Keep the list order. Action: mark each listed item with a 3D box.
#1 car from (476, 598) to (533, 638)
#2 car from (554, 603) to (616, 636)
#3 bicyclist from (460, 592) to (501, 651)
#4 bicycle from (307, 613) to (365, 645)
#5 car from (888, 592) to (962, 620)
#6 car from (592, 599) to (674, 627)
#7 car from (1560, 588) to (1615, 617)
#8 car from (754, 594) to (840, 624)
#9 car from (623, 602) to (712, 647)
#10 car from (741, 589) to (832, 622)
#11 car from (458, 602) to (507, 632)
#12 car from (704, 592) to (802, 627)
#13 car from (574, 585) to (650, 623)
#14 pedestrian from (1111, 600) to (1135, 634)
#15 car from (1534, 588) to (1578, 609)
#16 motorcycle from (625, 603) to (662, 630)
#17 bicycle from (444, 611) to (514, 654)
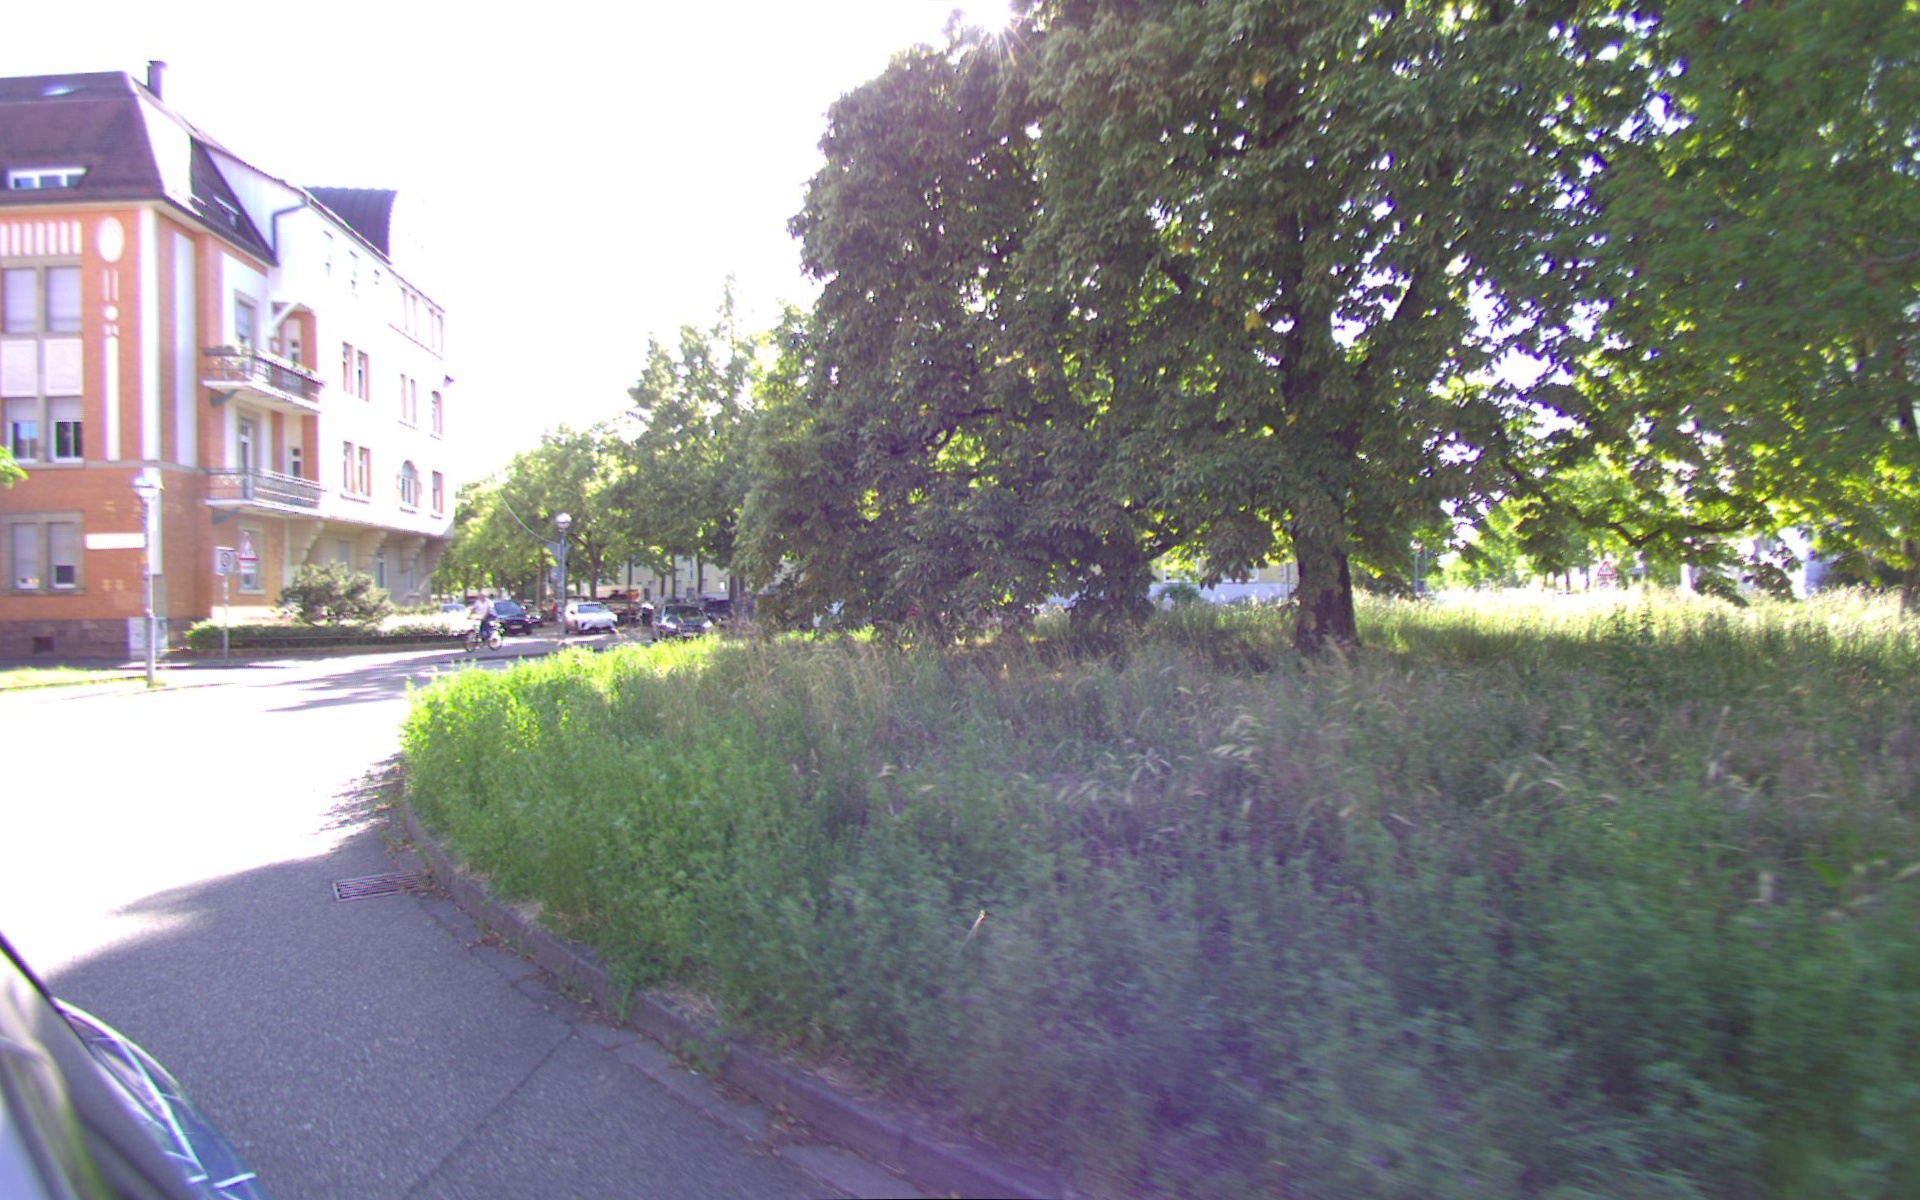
[{"bbox_3d":[-22.641,0.880,50.253,1.768,1.780,4.219,-4,1,-34],"label":"car"},{"bbox_3d":[-17.975,0.928,48.407,1.768,1.446,4.220,-2,0,-34],"label":"car"},{"bbox_3d":[-14.291,0.634,30.170,0.760,1.709,0.806,0,0,24],"label":"bicyclist"},{"bbox_3d":[-21.566,1.000,34.975,1.648,1.080,0.501,0,-1,-7],"label":"bicycle"},{"bbox_3d":[-1.890,0.324,53.393,1.707,1.450,4.398,-1,0,-36],"label":"car"},{"bbox_3d":[-18.123,0.699,56.178,3.946,1.452,1.822,-1,0,2],"label":"car"},{"bbox_3d":[31.798,0.128,51.391,1.789,1.423,3.968,-1,0,24],"label":"car"},{"bbox_3d":[-8.278,0.446,51.510,3.931,1.484,1.765,-1,0,-28],"label":"car"},{"bbox_3d":[-10.437,0.850,35.933,1.768,1.446,4.220,-2,0,-34],"label":"car"},{"bbox_3d":[-8.133,0.246,47.638,3.947,1.484,1.758,-1,0,3],"label":"car"},{"bbox_3d":[-26.303,0.933,55.678,1.768,1.464,4.219,-4,1,-34],"label":"car"},{"bbox_3d":[-9.200,0.432,45.160,3.948,1.484,1.757,-1,0,4],"label":"car"},{"bbox_3d":[-23.995,0.291,69.898,4.527,2.509,1.988,-1,0,-2],"label":"car"},{"bbox_3d":[7.550,0.792,46.843,0.813,1.535,0.698,-2,1,-40],"label":"pedestrian"},{"bbox_3d":[36.346,-0.089,61.773,1.788,1.265,3.691,-1,0,23],"label":"car"},{"bbox_3d":[-16.607,0.845,53.103,0.727,1.358,1.778,-1,0,36],"label":"motorcycle"},{"bbox_3d":[-14.311,0.939,30.156,0.760,1.207,1.855,0,0,23],"label":"bicycle"}]
